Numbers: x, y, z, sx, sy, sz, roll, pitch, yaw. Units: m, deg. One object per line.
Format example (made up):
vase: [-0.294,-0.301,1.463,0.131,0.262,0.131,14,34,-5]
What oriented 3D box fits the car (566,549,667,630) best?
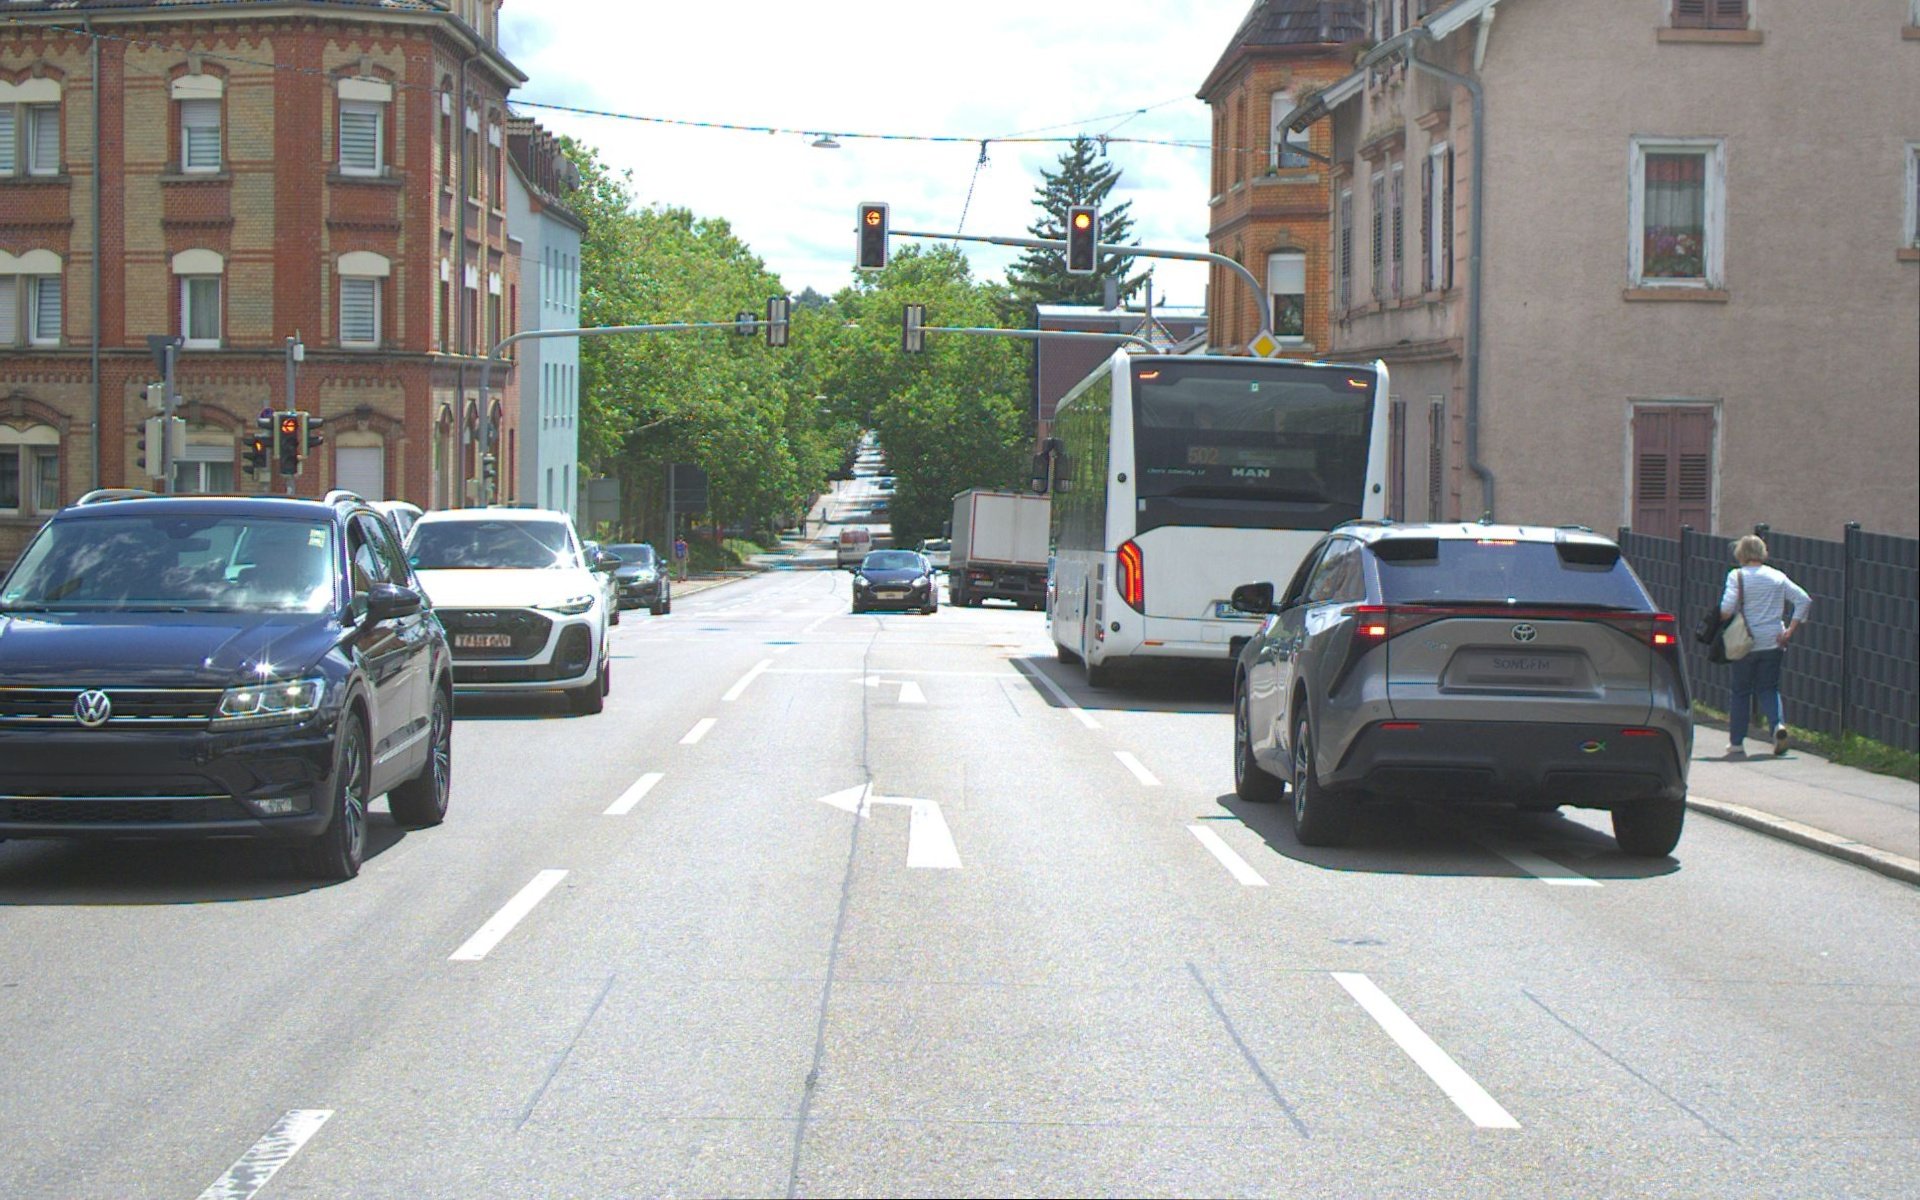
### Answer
car: [-7.398,-0.250,74.309,1.864,1.660,4.260,0,1,-1]

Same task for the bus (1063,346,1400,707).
bus: [2.608,-0.919,36.857,2.802,3.186,12.197,1,2,1]

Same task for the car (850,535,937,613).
car: [-1.496,-0.595,76.454,1.864,1.660,4.260,0,1,-1]

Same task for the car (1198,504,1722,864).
car: [2.457,0.335,17.981,1.930,1.577,4.209,1,2,-3]

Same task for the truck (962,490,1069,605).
truck: [1.512,-1.527,97.917,2.666,3.097,9.036,-1,1,-1]

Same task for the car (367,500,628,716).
car: [-3.783,0.010,28.747,1.863,1.650,4.379,1,1,-4]

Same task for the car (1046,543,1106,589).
car: [4.199,-1.242,124.609,1.930,1.577,4.208,-1,1,-1]

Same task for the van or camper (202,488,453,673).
van or camper: [-6.969,-0.263,38.400,1.970,1.908,5.129,1,1,-1]

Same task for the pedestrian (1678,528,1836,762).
pedestrian: [5.564,0.298,24.049,0.813,1.576,1.070,-1,1,-1]

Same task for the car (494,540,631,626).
car: [-6.527,-0.306,56.789,1.864,1.315,4.260,0,1,-1]

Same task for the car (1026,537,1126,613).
car: [2.486,-0.563,74.802,1.930,1.577,4.208,-1,1,-1]

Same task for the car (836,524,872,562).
car: [-5.487,-2.958,177.309,1.832,1.875,4.001,0,2,-2]

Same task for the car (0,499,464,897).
car: [-3.418,0.331,15.462,1.864,1.535,4.107,1,1,-1]
